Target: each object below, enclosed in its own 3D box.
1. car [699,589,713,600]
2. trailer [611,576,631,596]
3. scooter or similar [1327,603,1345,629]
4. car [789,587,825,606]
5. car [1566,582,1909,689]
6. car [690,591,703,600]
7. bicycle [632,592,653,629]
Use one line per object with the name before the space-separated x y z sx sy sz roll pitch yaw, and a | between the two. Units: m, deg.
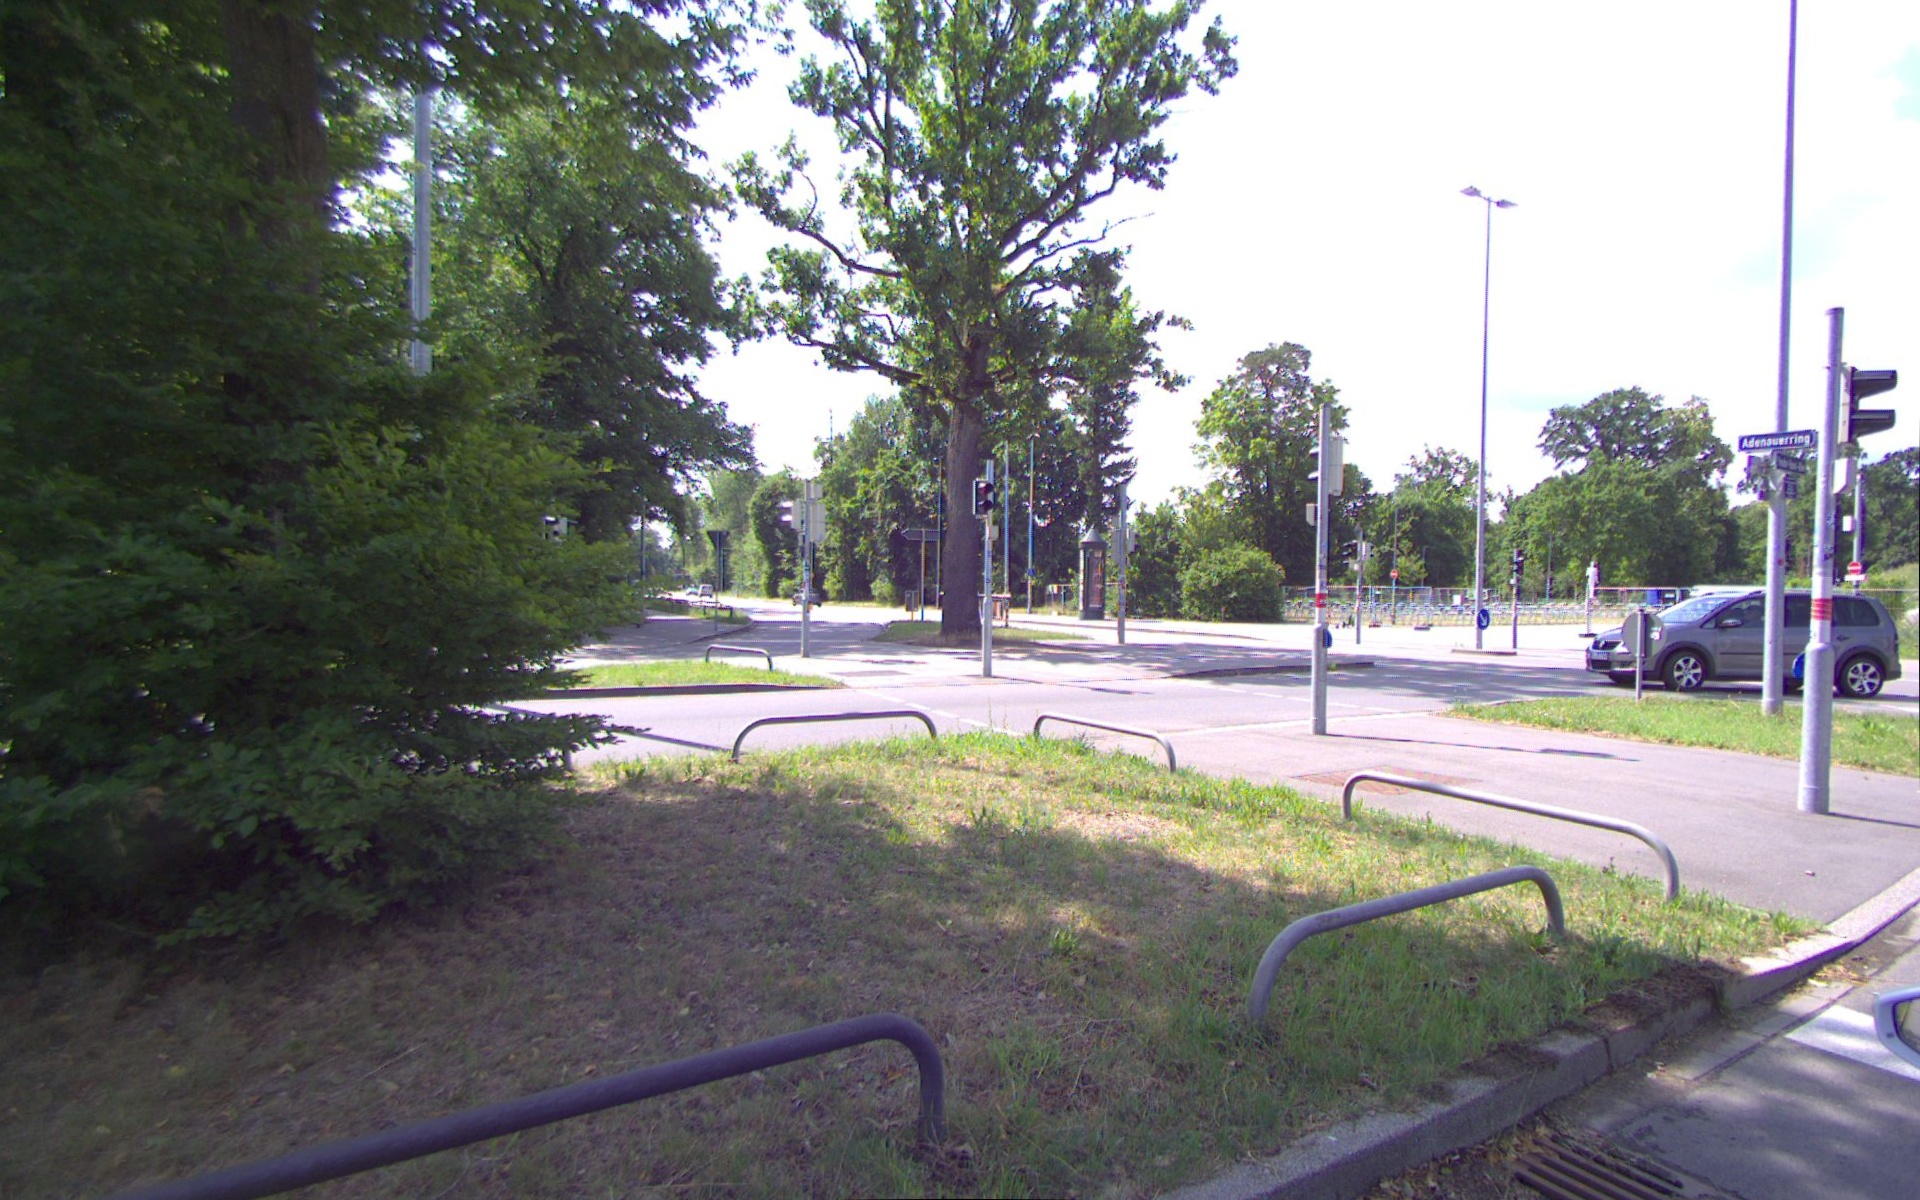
car | -38.210 -0.818 150.841 1.689 1.714 3.698 2 0 -20
trailer | -42.495 -1.721 125.751 1.972 2.420 3.976 2 0 -24
scooter or similar | 18.348 0.774 49.070 0.399 1.216 1.312 0 1 0
car | -13.052 -0.285 85.387 1.848 1.529 4.018 2 0 -27
car | 12.779 0.551 16.760 4.212 1.651 1.767 1 0 6
car | -47.874 -0.782 182.520 1.810 1.514 4.088 2 0 -20
bicycle | -10.467 0.338 33.150 0.413 1.189 1.228 2 0 -8
